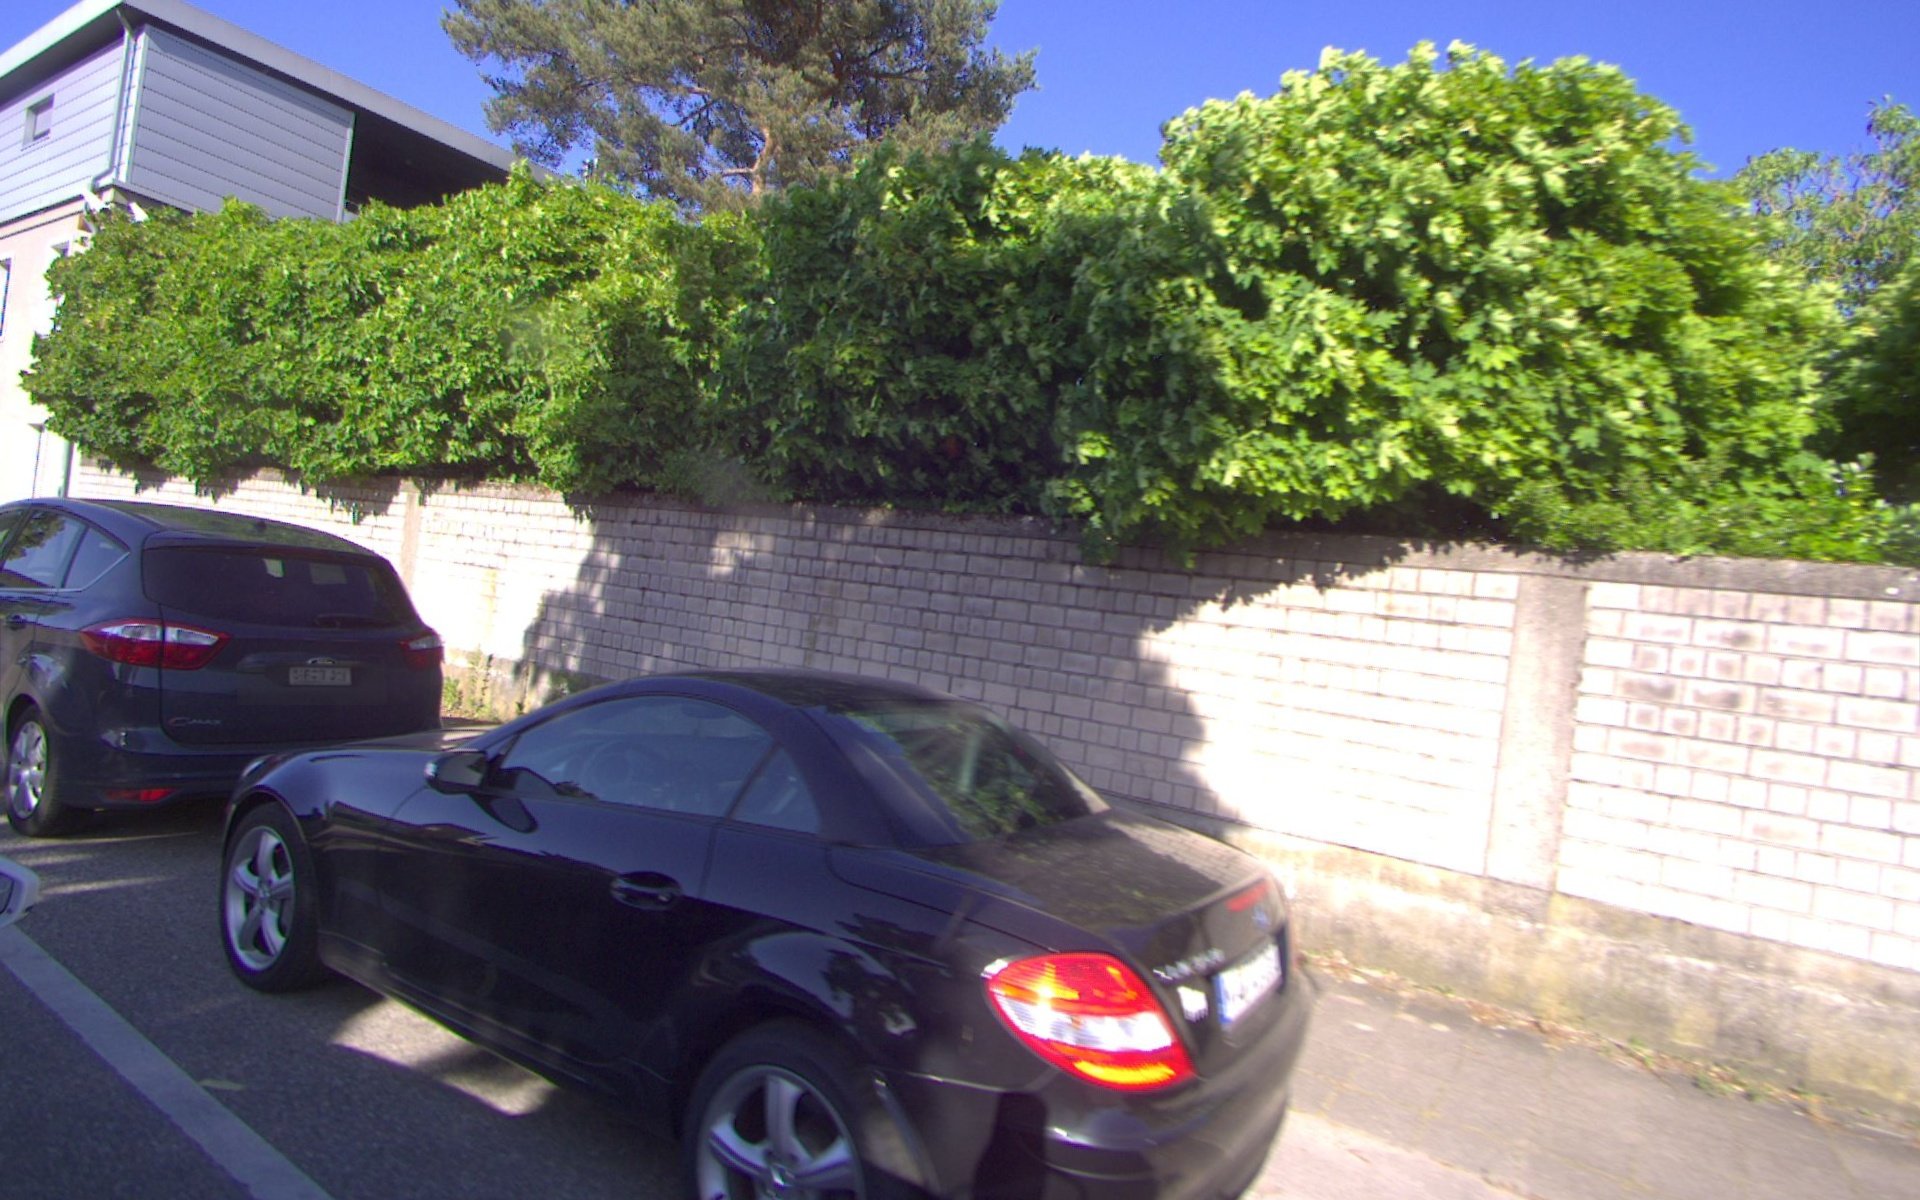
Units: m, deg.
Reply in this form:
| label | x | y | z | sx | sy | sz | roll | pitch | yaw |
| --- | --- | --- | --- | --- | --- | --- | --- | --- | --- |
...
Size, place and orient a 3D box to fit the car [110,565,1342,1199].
| label | x | y | z | sx | sy | sz | roll | pitch | yaw |
| --- | --- | --- | --- | --- | --- | --- | --- | --- | --- |
| car | -1.022 | 0.800 | 3.468 | 4.035 | 1.334 | 1.656 | 7 | 0 | 31 |

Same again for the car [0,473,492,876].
| label | x | y | z | sx | sy | sz | roll | pitch | yaw |
| --- | --- | --- | --- | --- | --- | --- | --- | --- | --- |
| car | -4.918 | 0.210 | 6.003 | 4.135 | 1.632 | 1.685 | 7 | -2 | 31 |
